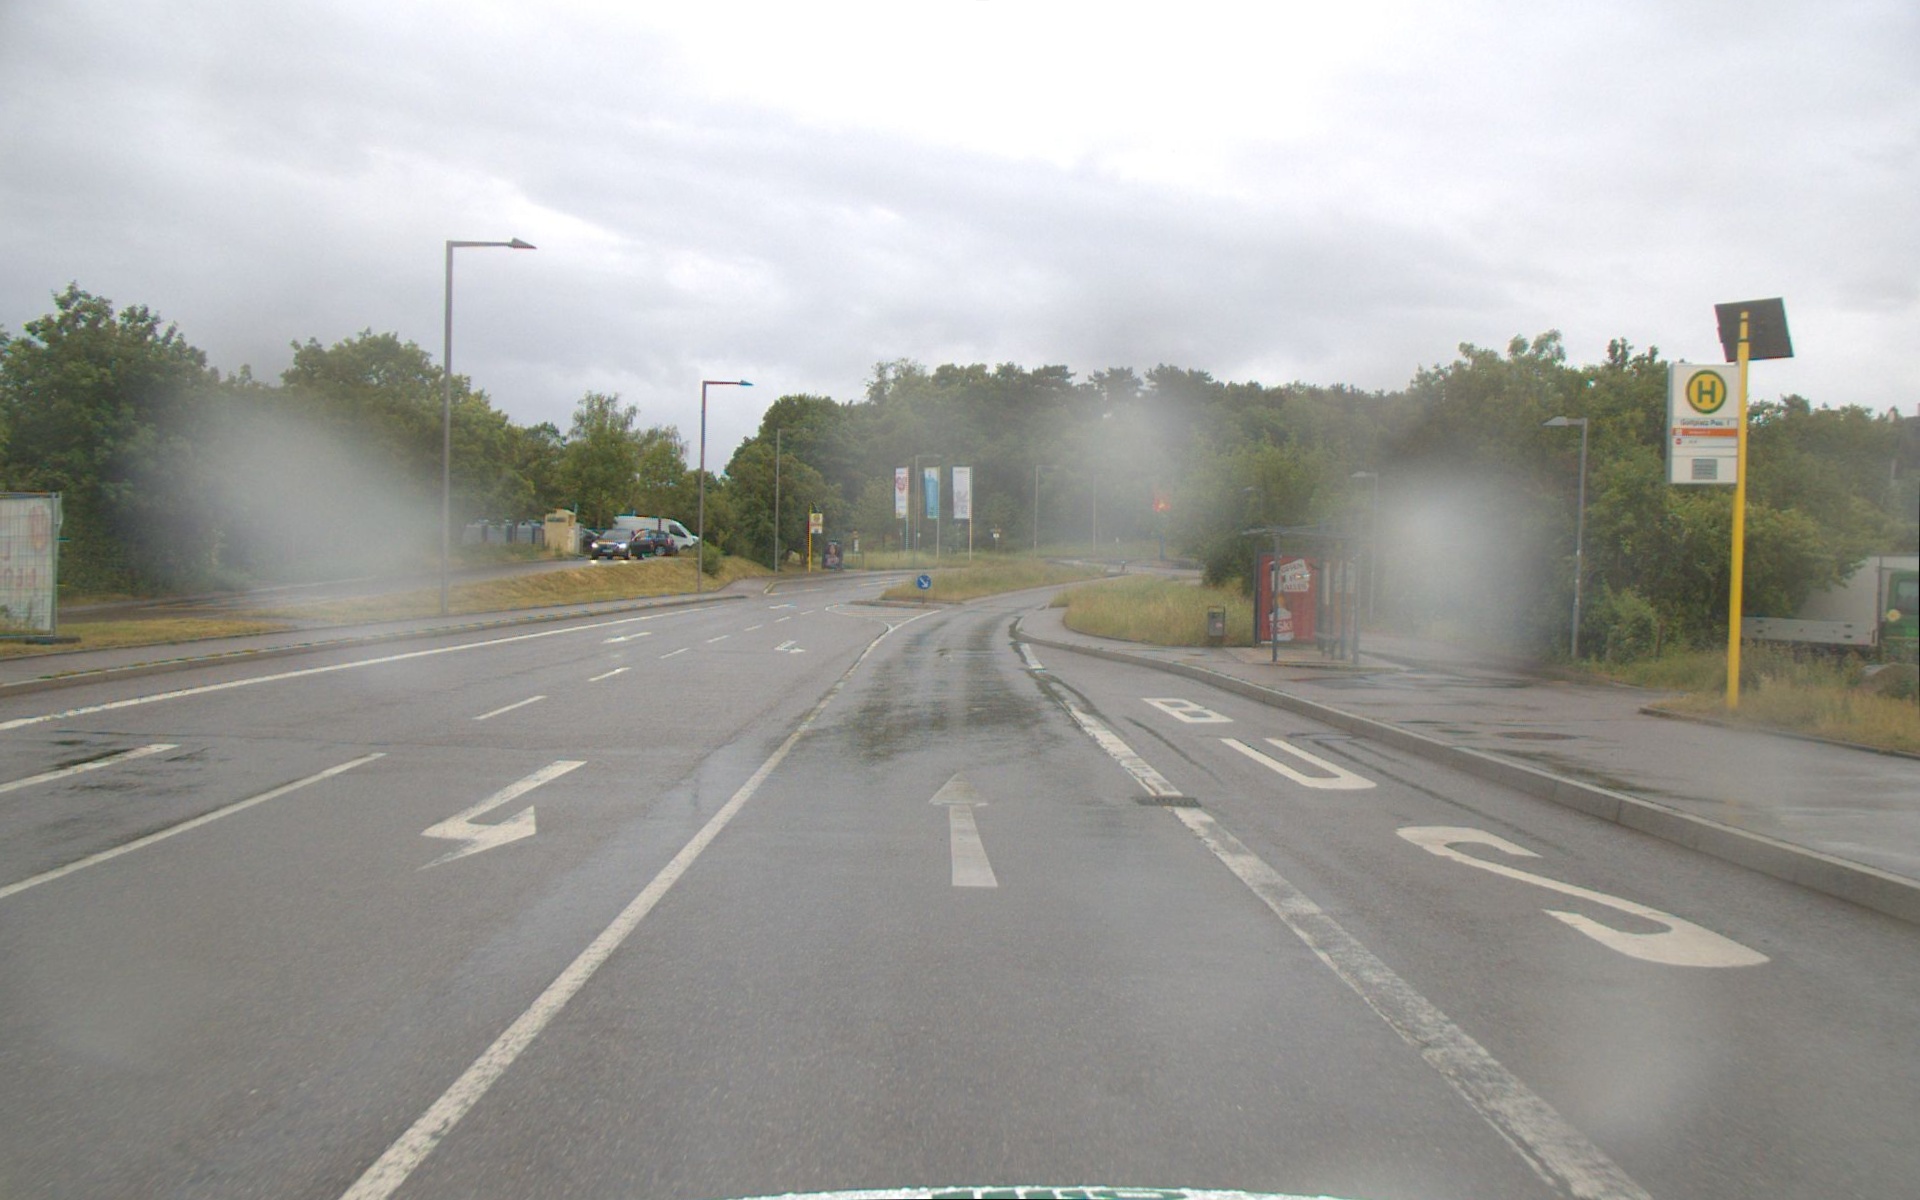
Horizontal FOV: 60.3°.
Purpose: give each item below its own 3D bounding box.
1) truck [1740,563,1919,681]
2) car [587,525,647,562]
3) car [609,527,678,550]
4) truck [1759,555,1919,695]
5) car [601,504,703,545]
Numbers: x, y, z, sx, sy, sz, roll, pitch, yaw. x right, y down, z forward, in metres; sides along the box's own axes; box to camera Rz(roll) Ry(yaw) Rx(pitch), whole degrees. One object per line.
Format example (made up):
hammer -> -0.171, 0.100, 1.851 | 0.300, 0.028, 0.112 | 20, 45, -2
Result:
truck -> 18.128, 0.425, 31.347 | 1.980, 2.146, 5.769 | 1, 1, -38
car -> -16.804, -2.794, 81.161 | 1.656, 1.595, 4.545 | 4, 3, 3
car -> -20.108, -3.903, 105.170 | 3.902, 1.387, 1.849 | 2, 2, 6
truck -> 18.311, 0.477, 31.187 | 1.980, 2.570, 5.557 | 2, -1, -39
car -> -20.973, -5.131, 112.818 | 6.421, 2.439, 2.139 | 3, 1, 0
